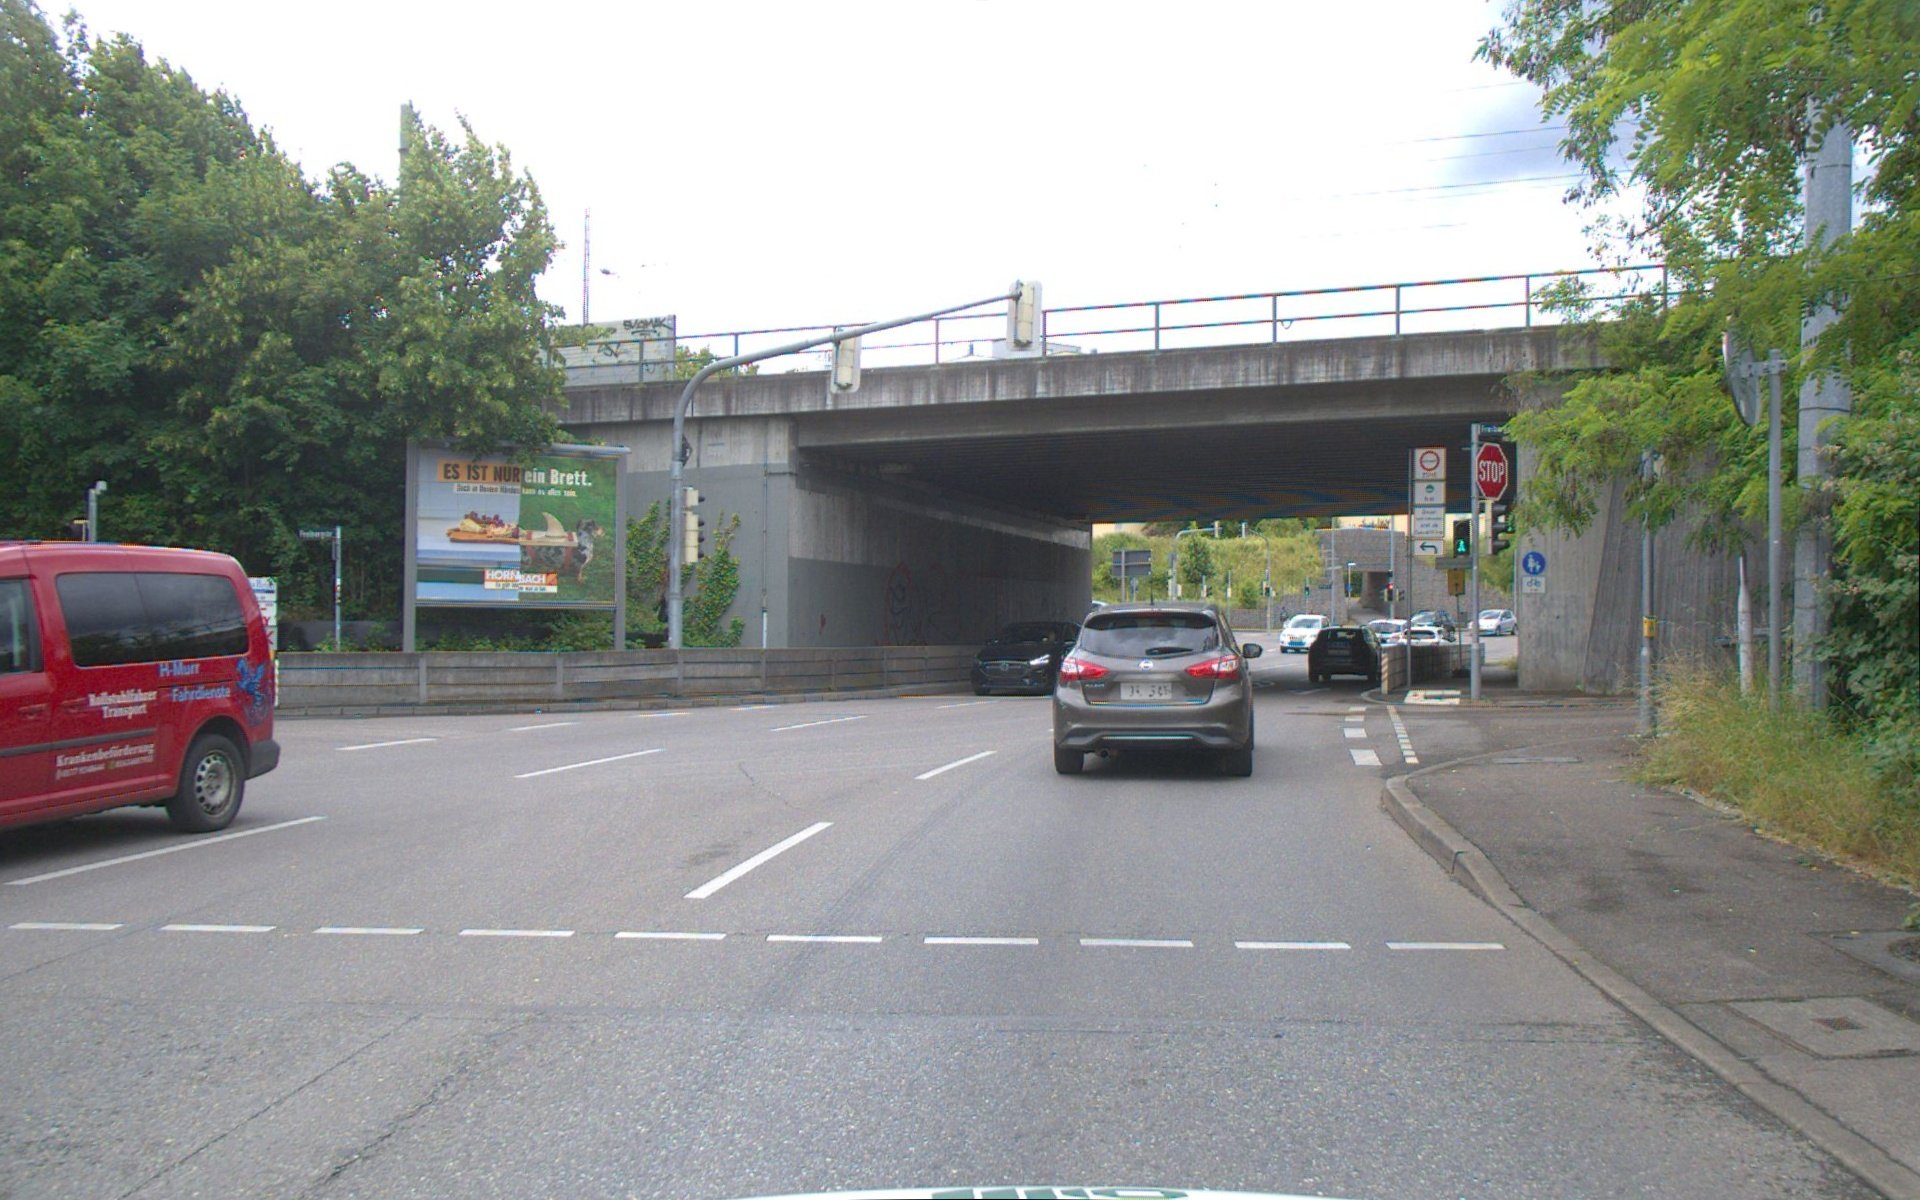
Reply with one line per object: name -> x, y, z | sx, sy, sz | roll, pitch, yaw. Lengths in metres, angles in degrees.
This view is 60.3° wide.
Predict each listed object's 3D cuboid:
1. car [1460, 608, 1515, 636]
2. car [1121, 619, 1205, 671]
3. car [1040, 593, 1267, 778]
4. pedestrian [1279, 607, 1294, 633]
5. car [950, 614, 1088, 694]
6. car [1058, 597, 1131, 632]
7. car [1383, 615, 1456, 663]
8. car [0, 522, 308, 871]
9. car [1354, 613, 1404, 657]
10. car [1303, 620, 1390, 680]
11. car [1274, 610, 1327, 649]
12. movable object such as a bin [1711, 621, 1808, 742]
car -> 32.045, 1.300, 100.490 | 1.961, 1.668, 3.982 | 0, 0, 38
car -> 5.920, 1.300, 47.918 | 1.687, 1.434, 4.001 | 0, -2, 18
car -> 1.967, 0.740, 15.770 | 1.805, 1.519, 4.003 | 0, -1, 11
pedestrian -> 20.425, 1.249, 103.528 | 0.932, 1.641, 0.700 | 1, 0, 10
car -> 1.277, 1.058, 33.698 | 1.778, 1.503, 4.139 | 1, -1, 17
car -> 7.900, 0.846, 97.116 | 3.903, 1.982, 2.001 | 0, -1, 18
car -> 16.767, 1.393, 60.264 | 1.954, 1.646, 3.997 | 0, -1, 25
car -> -5.821, 0.509, 9.398 | 1.652, 1.857, 4.730 | 0, 0, 11
car -> 17.232, 1.409, 67.947 | 1.791, 1.736, 3.871 | 1, 0, 17
car -> 10.329, 1.282, 43.989 | 1.860, 1.492, 4.001 | 0, 0, 19
car -> 15.366, 1.314, 74.463 | 1.746, 1.689, 4.109 | 0, -1, 20
movable object such as a bin -> 7.734, 0.773, 16.003 | 0.567, 1.135, 0.638 | 1, -1, -28
